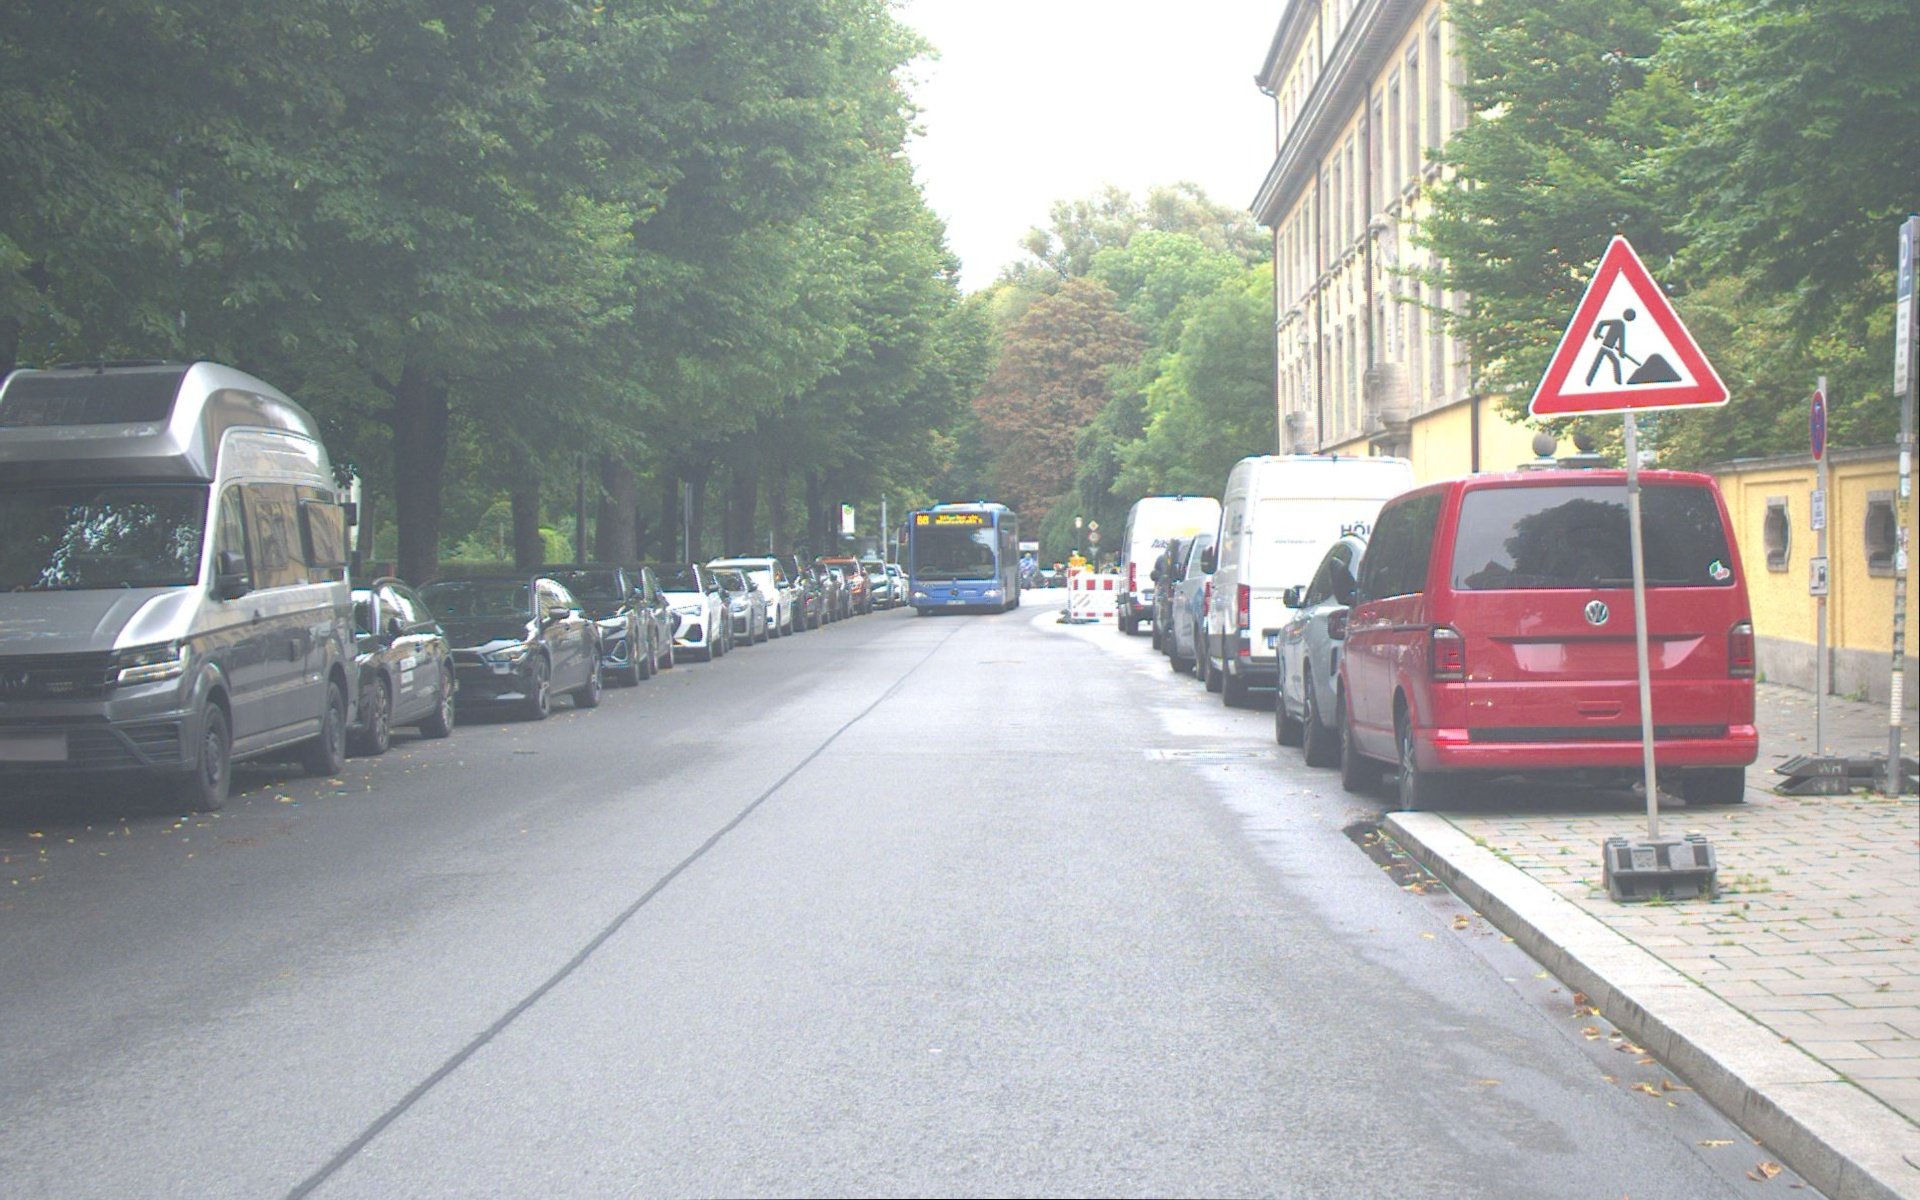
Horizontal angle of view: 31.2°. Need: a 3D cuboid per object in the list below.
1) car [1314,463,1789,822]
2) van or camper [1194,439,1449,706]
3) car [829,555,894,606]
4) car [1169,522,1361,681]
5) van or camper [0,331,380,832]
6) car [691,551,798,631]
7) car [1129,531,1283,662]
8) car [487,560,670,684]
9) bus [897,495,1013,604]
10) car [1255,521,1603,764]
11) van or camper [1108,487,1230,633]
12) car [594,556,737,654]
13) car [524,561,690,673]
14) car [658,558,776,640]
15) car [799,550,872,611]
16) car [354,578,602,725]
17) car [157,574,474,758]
[{"bbox_3d":[3.376,0.192,20.559,1.991,1.833,4.714,-2,1,0],"label":"car"},{"bbox_3d":[3.708,-0.301,36.200,2.132,2.537,5.243,-2,1,1],"label":"van or camper"},{"bbox_3d":[-3.079,-0.626,108.155,1.852,1.566,4.000,-1,1,1],"label":"car"},{"bbox_3d":[3.790,-0.012,43.401,1.991,1.838,4.322,-2,1,0],"label":"car"},{"bbox_3d":[-5.546,-0.138,23.381,2.001,2.935,6.010,-2,1,1],"label":"van or camper"},{"bbox_3d":[-4.390,-0.211,70.431,1.852,1.558,4.000,-1,1,1],"label":"car"},{"bbox_3d":[3.702,-0.082,52.334,1.991,1.838,4.322,-2,1,0],"label":"car"},{"bbox_3d":[-4.776,0.241,43.553,1.852,1.468,4.000,-1,1,0],"label":"car"},{"bbox_3d":[-0.029,-1.458,99.398,2.713,2.889,14.553,-1,1,2],"label":"bus"},{"bbox_3d":[3.411,0.263,25.822,1.991,1.603,4.322,-2,1,0],"label":"car"},{"bbox_3d":[4.100,-0.801,68.215,2.115,2.723,5.243,-2,1,1],"label":"van or camper"},{"bbox_3d":[-4.637,0.052,54.609,1.852,1.468,4.000,-1,1,1],"label":"car"},{"bbox_3d":[-4.944,0.207,48.666,1.852,1.468,4.000,-1,1,1],"label":"car"},{"bbox_3d":[-4.541,-0.040,64.721,1.852,1.468,4.000,-1,1,1],"label":"car"},{"bbox_3d":[-3.581,-0.584,99.438,1.852,1.695,4.000,-1,1,1],"label":"car"},{"bbox_3d":[-4.819,0.485,34.908,1.874,1.343,4.000,-1,1,1],"label":"car"},{"bbox_3d":[-5.418,0.509,29.371,1.874,1.412,4.000,-1,1,1],"label":"car"}]
